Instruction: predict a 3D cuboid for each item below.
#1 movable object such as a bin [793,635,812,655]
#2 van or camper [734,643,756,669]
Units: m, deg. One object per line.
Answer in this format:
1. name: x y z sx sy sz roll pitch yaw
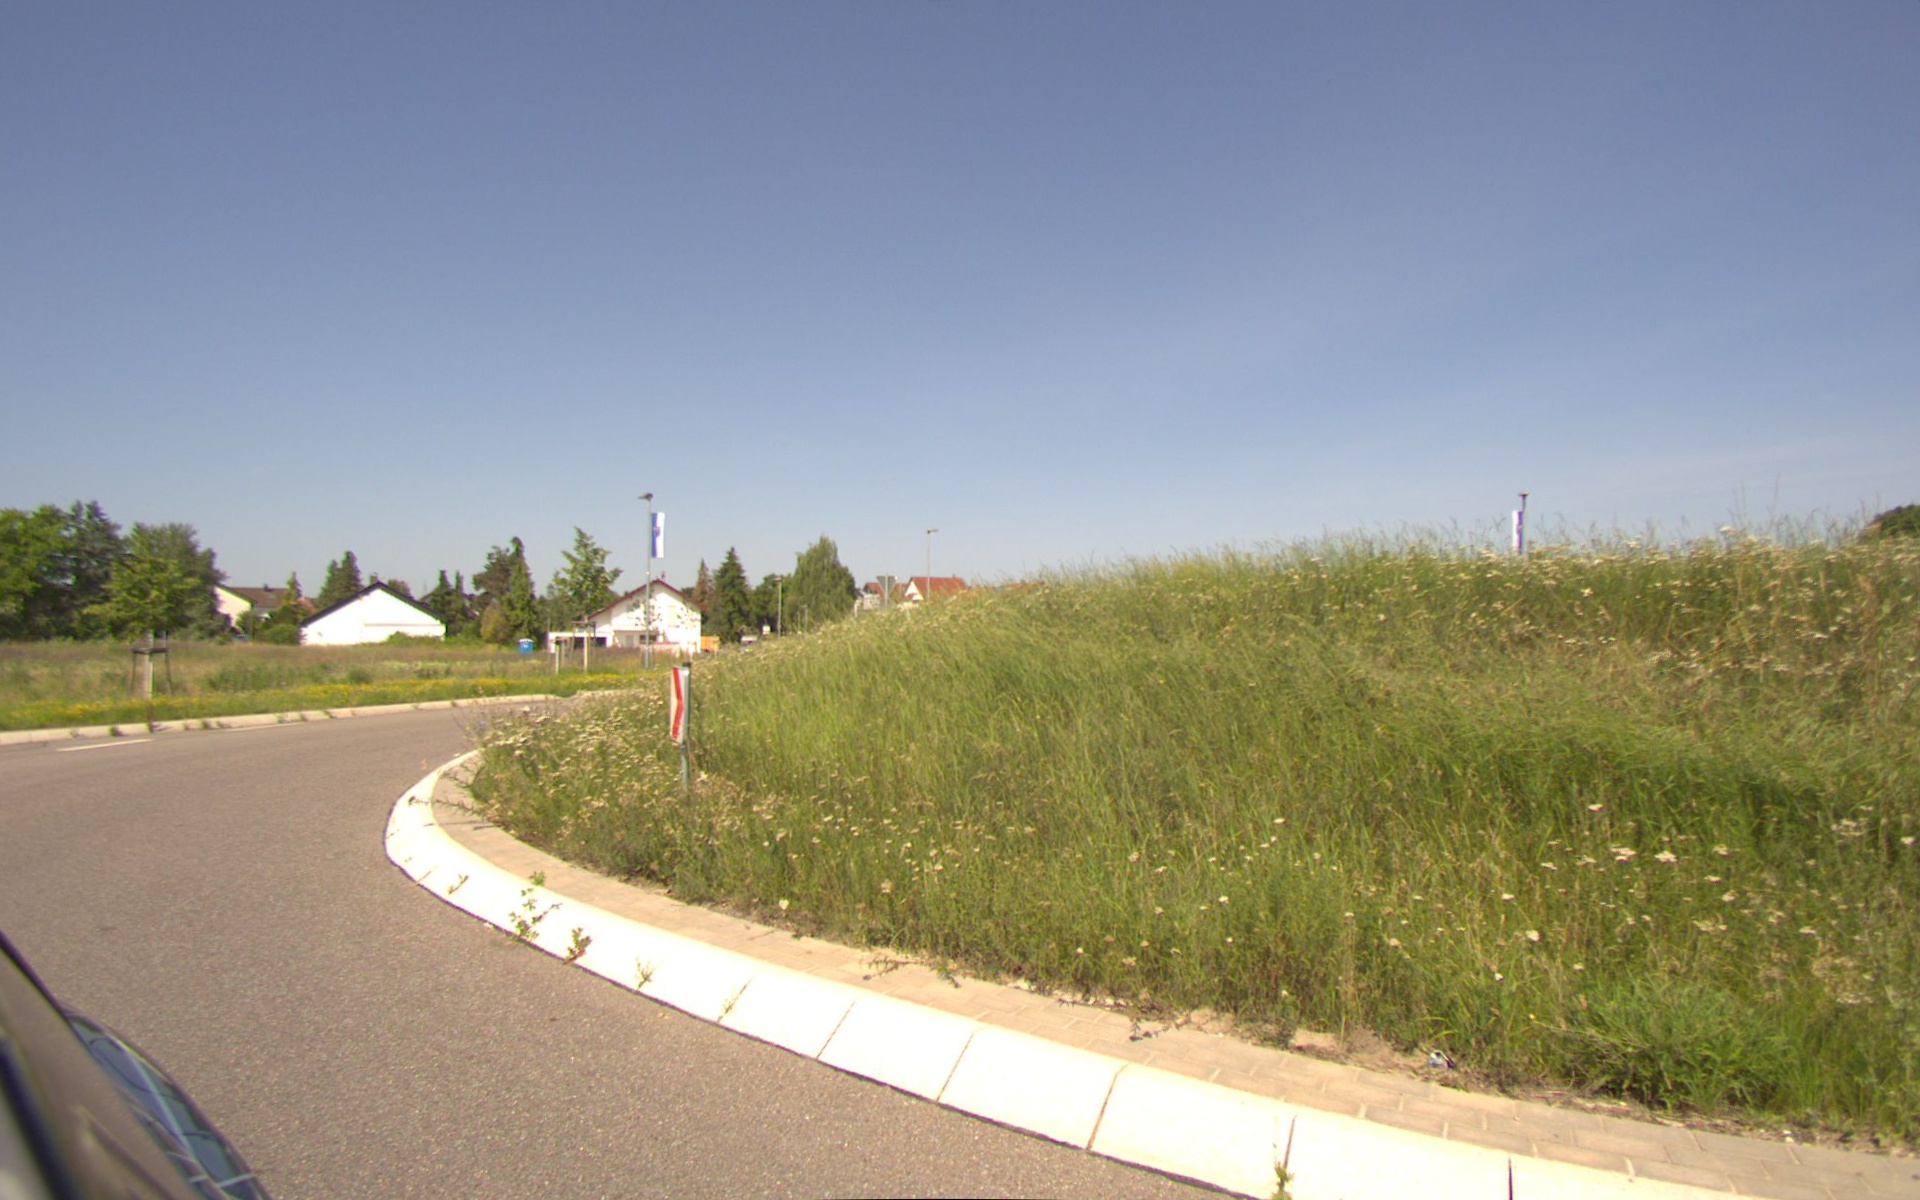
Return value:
1. movable object such as a bin: -20.859 5.980 134.104 2.286 2.482 6.958 -2 -3 -9
2. van or camper: -22.961 5.992 108.126 2.143 2.620 6.046 0 -2 -13
